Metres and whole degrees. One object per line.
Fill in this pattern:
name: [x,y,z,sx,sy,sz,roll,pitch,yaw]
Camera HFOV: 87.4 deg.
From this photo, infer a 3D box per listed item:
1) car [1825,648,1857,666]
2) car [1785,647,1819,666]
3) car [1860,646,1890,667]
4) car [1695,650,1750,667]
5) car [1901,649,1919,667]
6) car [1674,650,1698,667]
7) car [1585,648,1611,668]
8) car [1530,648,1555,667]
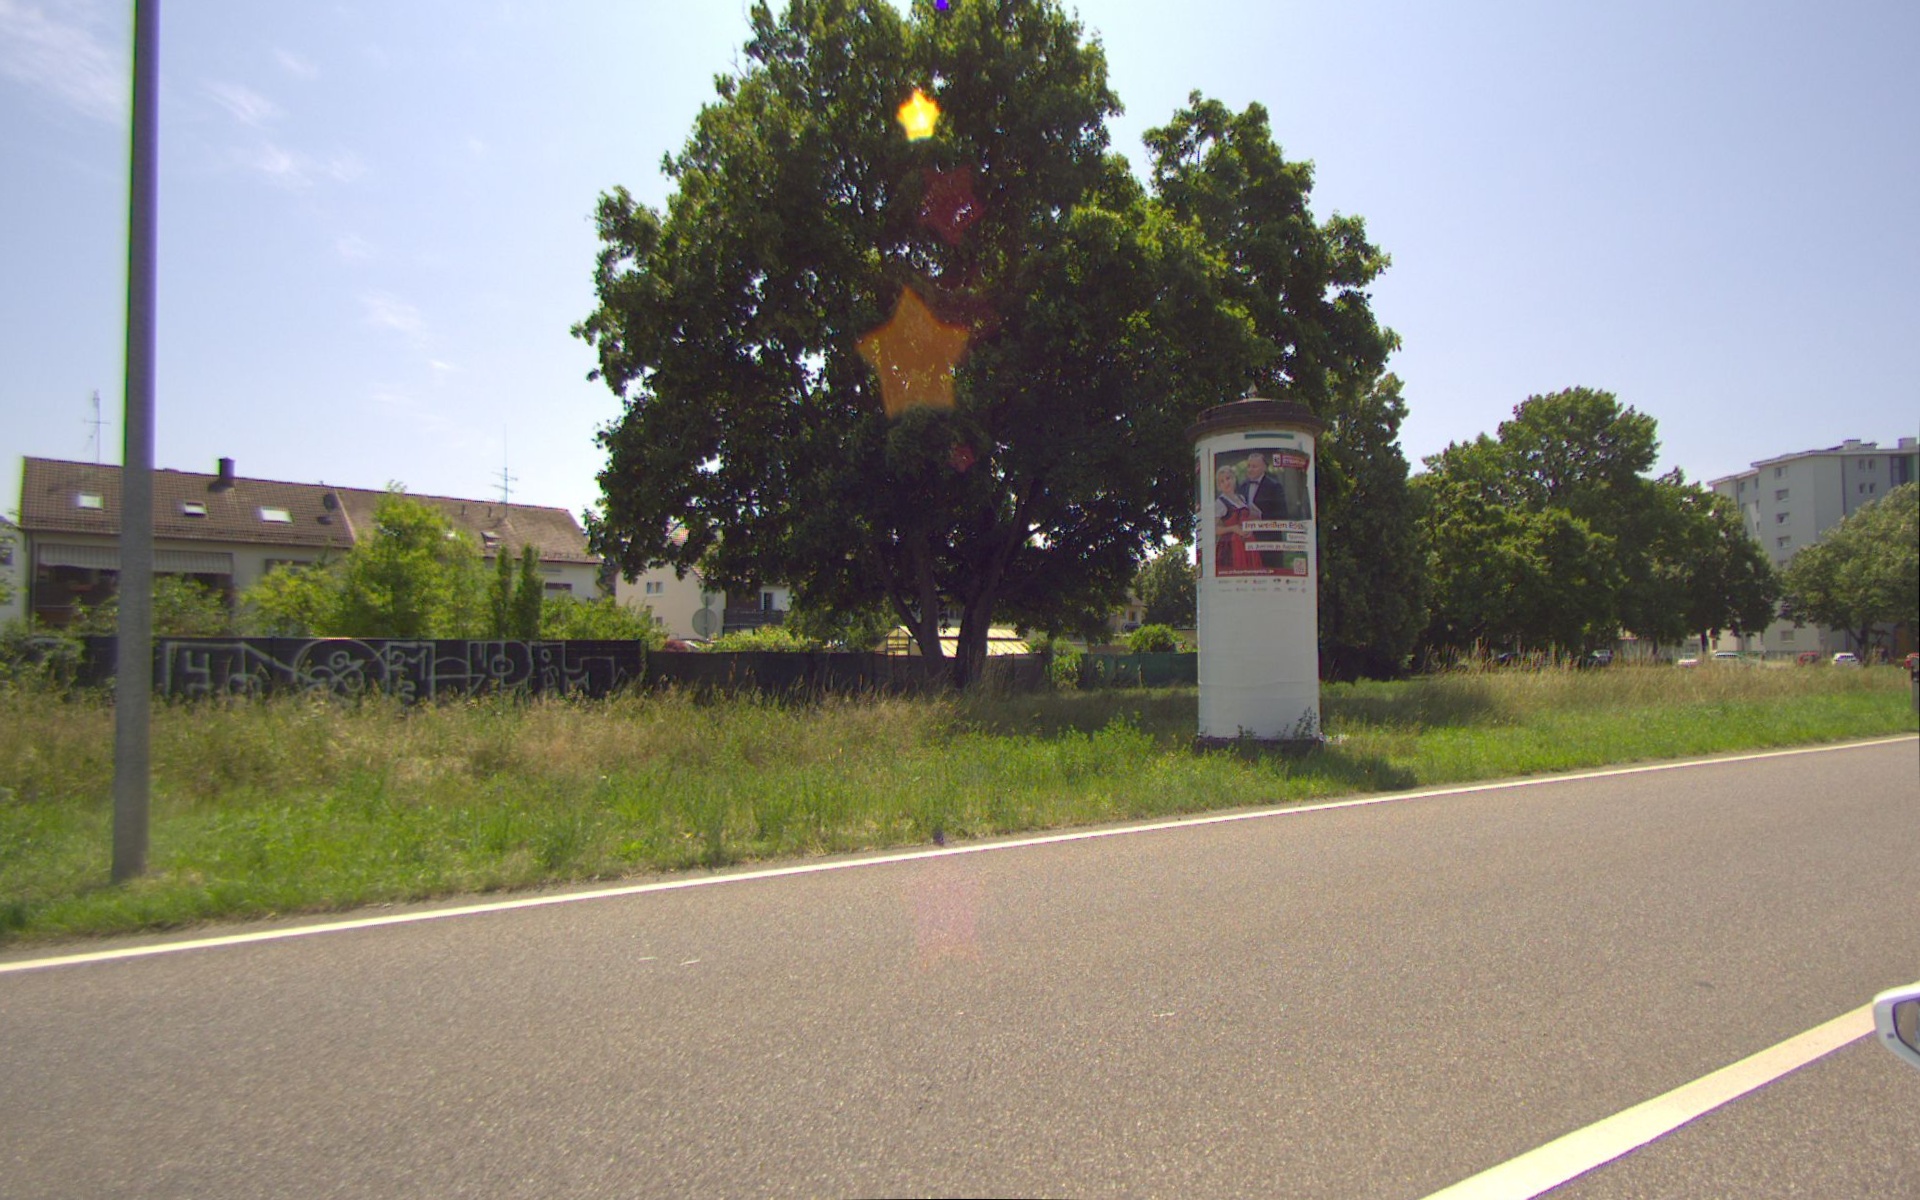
car: [80.505,5.202,91.860,1.681,1.613,3.989,-1,-2,34]
car: [78.571,5.209,93.764,1.820,1.690,3.992,-1,-2,31]
car: [82.203,5.061,90.267,1.684,1.824,3.983,-1,-3,38]
car: [67.636,5.160,89.173,3.836,1.488,1.769,-2,-3,37]
car: [84.001,5.087,88.417,1.601,1.483,3.975,-2,-3,45]
car: [71.772,5.754,99.253,1.668,1.582,3.822,-3,-4,39]
car: [65.523,5.940,103.176,1.824,1.973,3.983,-1,-3,38]
car: [62.344,6.107,107.459,1.824,1.973,3.983,-1,-3,38]
